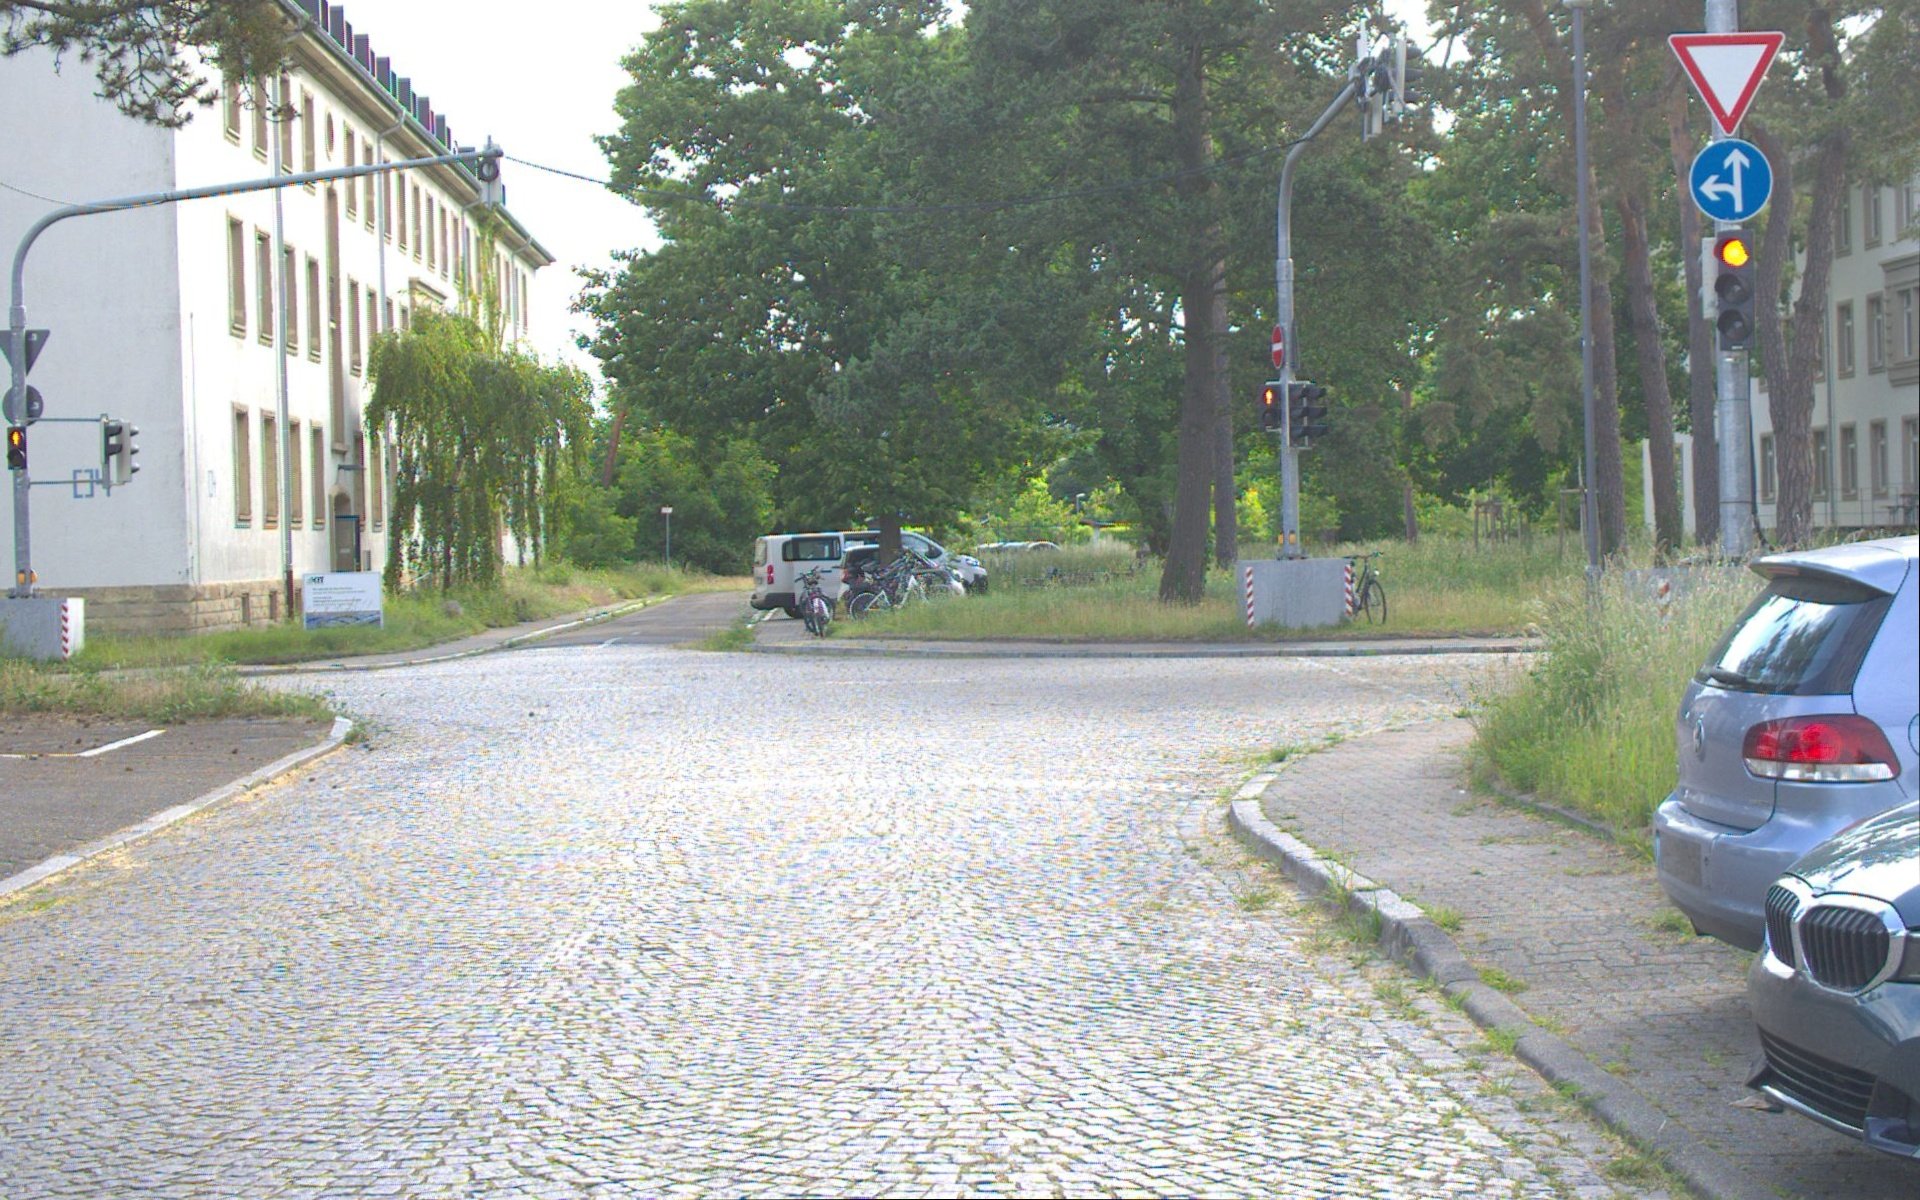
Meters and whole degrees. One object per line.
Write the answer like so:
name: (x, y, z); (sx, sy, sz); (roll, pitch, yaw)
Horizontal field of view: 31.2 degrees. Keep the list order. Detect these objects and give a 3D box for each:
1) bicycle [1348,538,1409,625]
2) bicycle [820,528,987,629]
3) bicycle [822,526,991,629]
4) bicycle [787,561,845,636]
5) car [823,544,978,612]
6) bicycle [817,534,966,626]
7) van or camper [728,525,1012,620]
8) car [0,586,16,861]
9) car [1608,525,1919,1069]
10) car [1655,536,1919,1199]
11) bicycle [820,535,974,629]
bicycle: (5.783, -0.266, 47.616); (0.724, 1.165, 2.736); (0, 1, 5)
bicycle: (-0.999, -0.390, 60.459); (2.775, 1.688, 1.120); (-2, 1, -9)
bicycle: (-0.937, -0.400, 59.265); (2.775, 1.688, 1.120); (-1, 1, -7)
bicycle: (-2.293, -0.036, 54.957); (0.725, 1.104, 2.462); (-6, 1, 0)
car: (-1.295, -0.481, 73.656); (3.137, 1.349, 1.620); (-1, 1, -7)
bicycle: (-1.290, -0.378, 65.358); (2.775, 1.688, 1.120); (1, 1, 0)
van or camper: (-2.039, -0.638, 77.216); (6.030, 1.942, 2.001); (-2, 1, -15)
car: (-7.178, 0.581, 17.126); (4.477, 1.437, 1.831); (2, 1, -5)
car: (4.058, 0.473, 10.311); (3.842, 1.466, 1.642); (-2, 1, -2)
car: (4.037, 0.555, 7.702); (4.512, 1.478, 1.808); (-1, 1, -4)
bicycle: (-1.164, -0.346, 64.023); (2.776, 1.688, 1.120); (1, 1, 2)
